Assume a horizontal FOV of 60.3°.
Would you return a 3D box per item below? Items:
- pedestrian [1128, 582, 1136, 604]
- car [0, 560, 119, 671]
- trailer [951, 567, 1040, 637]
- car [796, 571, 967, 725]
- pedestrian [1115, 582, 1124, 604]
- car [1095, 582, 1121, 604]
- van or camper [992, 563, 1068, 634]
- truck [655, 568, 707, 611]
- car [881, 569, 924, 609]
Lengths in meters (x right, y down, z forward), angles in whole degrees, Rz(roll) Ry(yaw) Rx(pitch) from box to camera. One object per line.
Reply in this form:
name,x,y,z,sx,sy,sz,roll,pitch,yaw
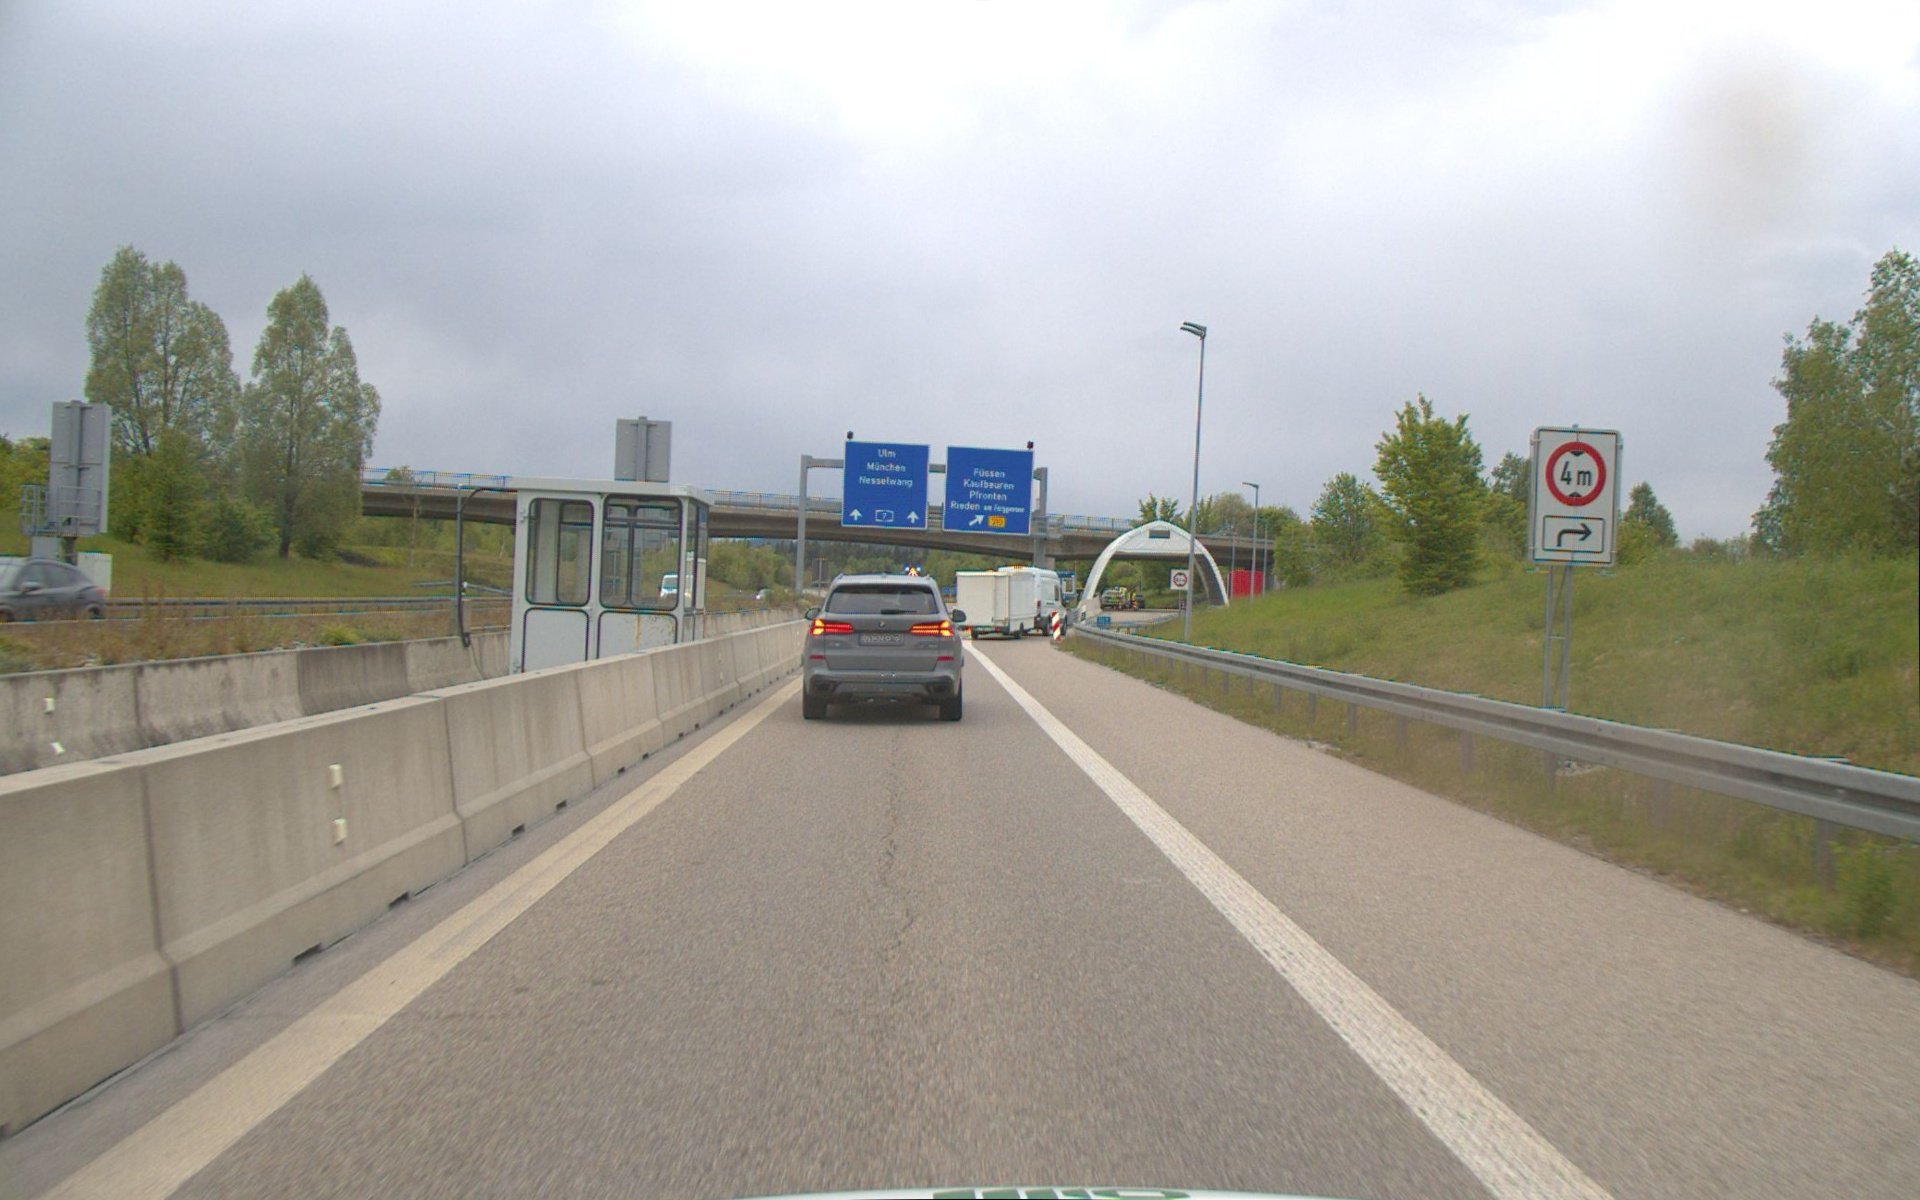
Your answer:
pedestrian,14.451,-0.600,138.896,0.634,1.806,0.606,0,0,1
car,-14.782,0.199,25.353,1.668,1.602,4.175,2,0,-1
trailer,1.449,0.094,63.242,2.230,2.473,6.823,1,0,11
car,-0.943,0.550,21.144,1.953,1.749,3.999,1,0,-1
pedestrian,13.296,-0.591,138.003,0.705,1.806,0.690,0,0,3
car,12.150,-0.578,135.713,1.952,1.803,3.767,0,0,2
van or camper,2.983,-0.037,69.450,2.111,2.812,5.876,1,0,13
truck,-17.315,-0.619,102.926,2.309,2.522,5.986,2,0,-2
car,-3.131,-0.611,89.462,2.240,2.049,5.047,1,1,-3
